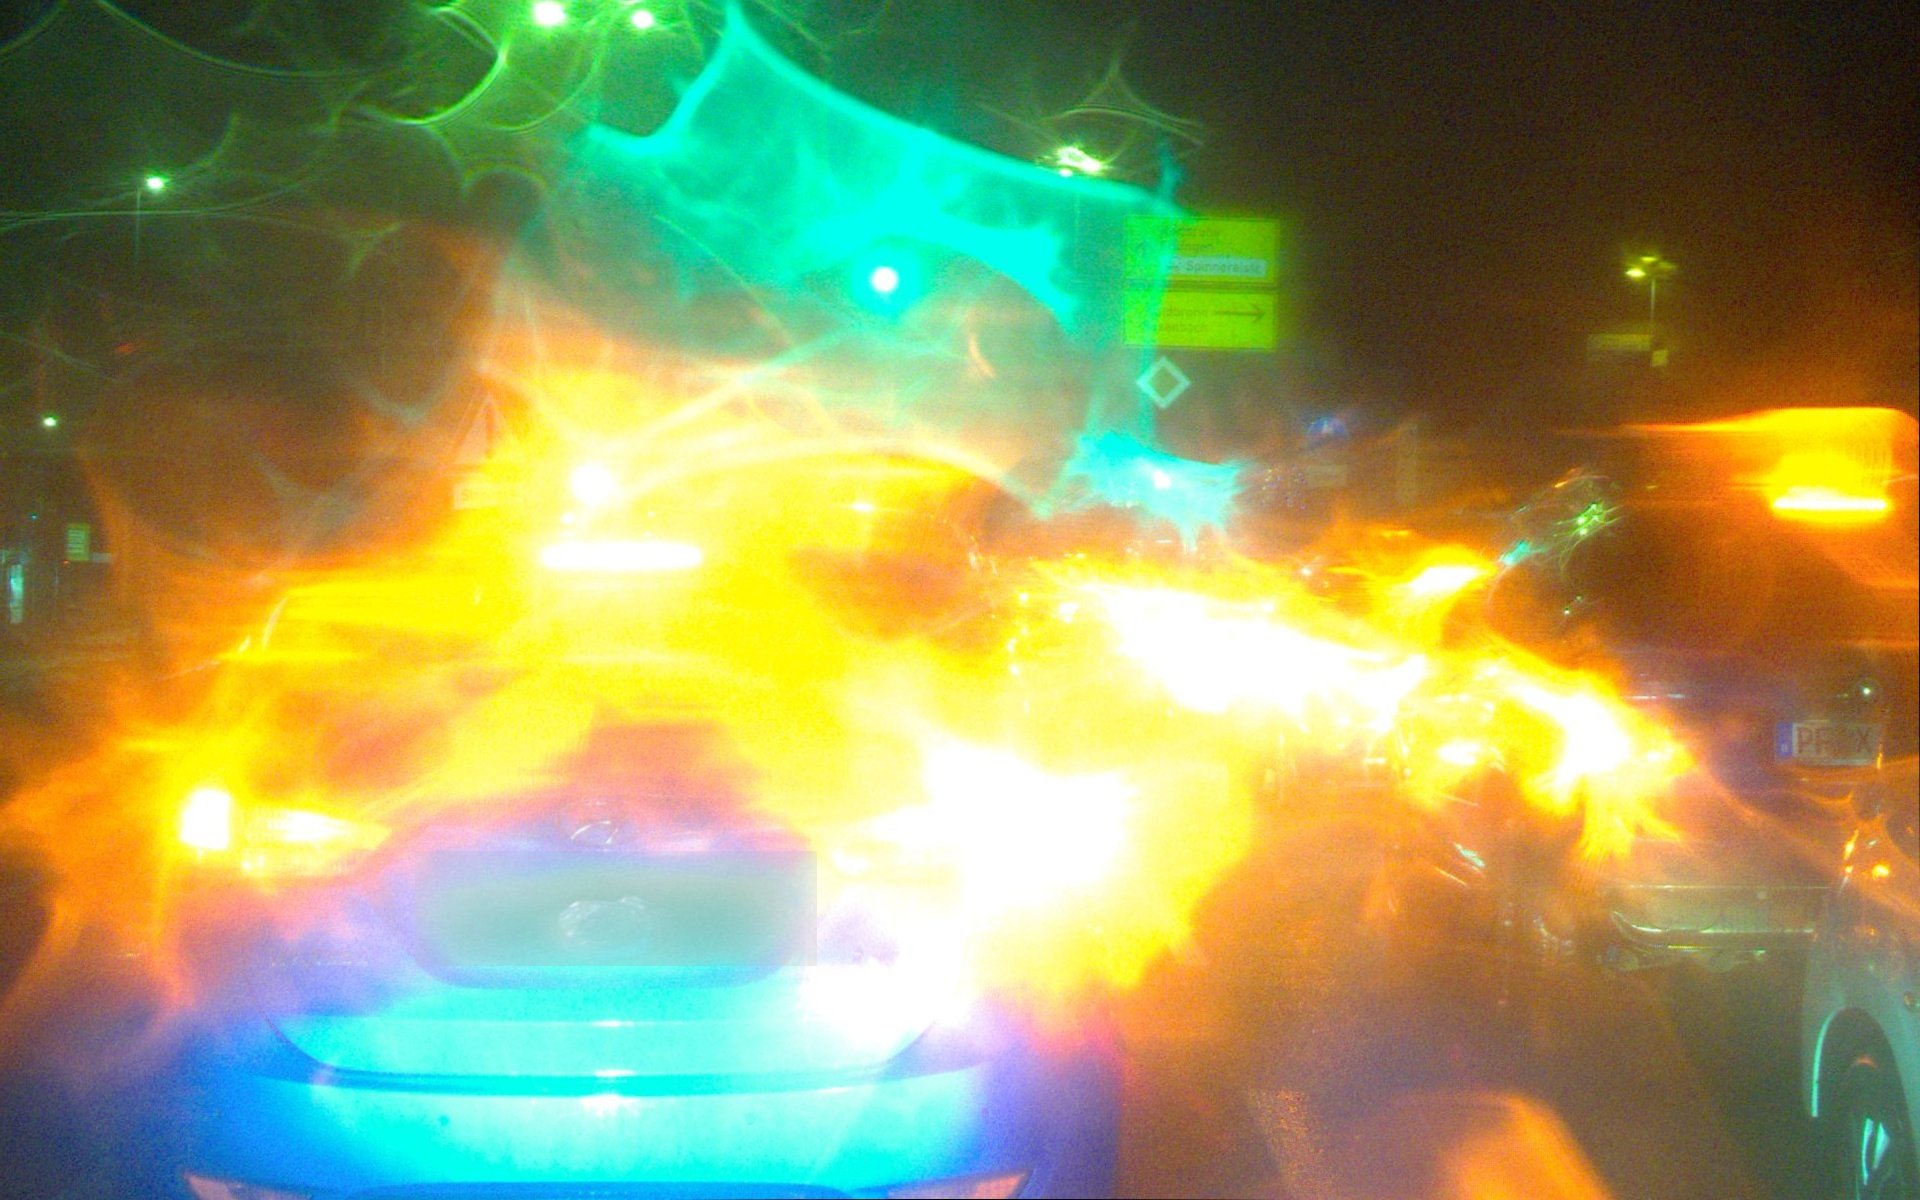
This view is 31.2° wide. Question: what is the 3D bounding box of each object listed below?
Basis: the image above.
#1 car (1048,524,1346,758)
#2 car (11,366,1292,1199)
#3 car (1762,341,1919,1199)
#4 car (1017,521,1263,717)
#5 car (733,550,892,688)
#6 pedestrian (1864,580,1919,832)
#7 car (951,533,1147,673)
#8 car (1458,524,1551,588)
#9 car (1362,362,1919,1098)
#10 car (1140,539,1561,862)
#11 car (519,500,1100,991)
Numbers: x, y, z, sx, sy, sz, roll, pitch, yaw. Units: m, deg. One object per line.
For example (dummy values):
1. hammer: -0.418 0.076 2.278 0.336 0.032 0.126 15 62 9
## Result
1. car: 1.771 0.280 26.947 1.993 1.664 4.000 1 1 -1
2. car: -0.567 0.478 7.699 2.014 1.711 4.452 1 1 -2
3. car: 2.478 0.536 4.335 1.851 1.858 4.341 1 1 -1
4. car: 1.686 0.155 33.531 1.993 1.767 4.000 1 1 -2
5. car: -2.108 0.236 48.157 1.993 1.818 4.001 1 1 -5
6. pedestrian: 6.572 0.716 23.442 0.622 1.696 0.541 1 0 -3
7. car: 0.994 0.019 40.422 1.857 1.539 3.931 1 1 -5
8. car: 14.873 -1.201 94.060 1.865 1.641 3.963 -2 1 0
9. car: 2.613 0.353 11.608 1.968 2.040 4.000 1 0 -1
10. car: 2.210 0.526 20.558 1.993 1.712 4.000 1 1 -1
11. car: -0.548 0.487 13.962 1.993 1.678 4.000 1 1 -1
